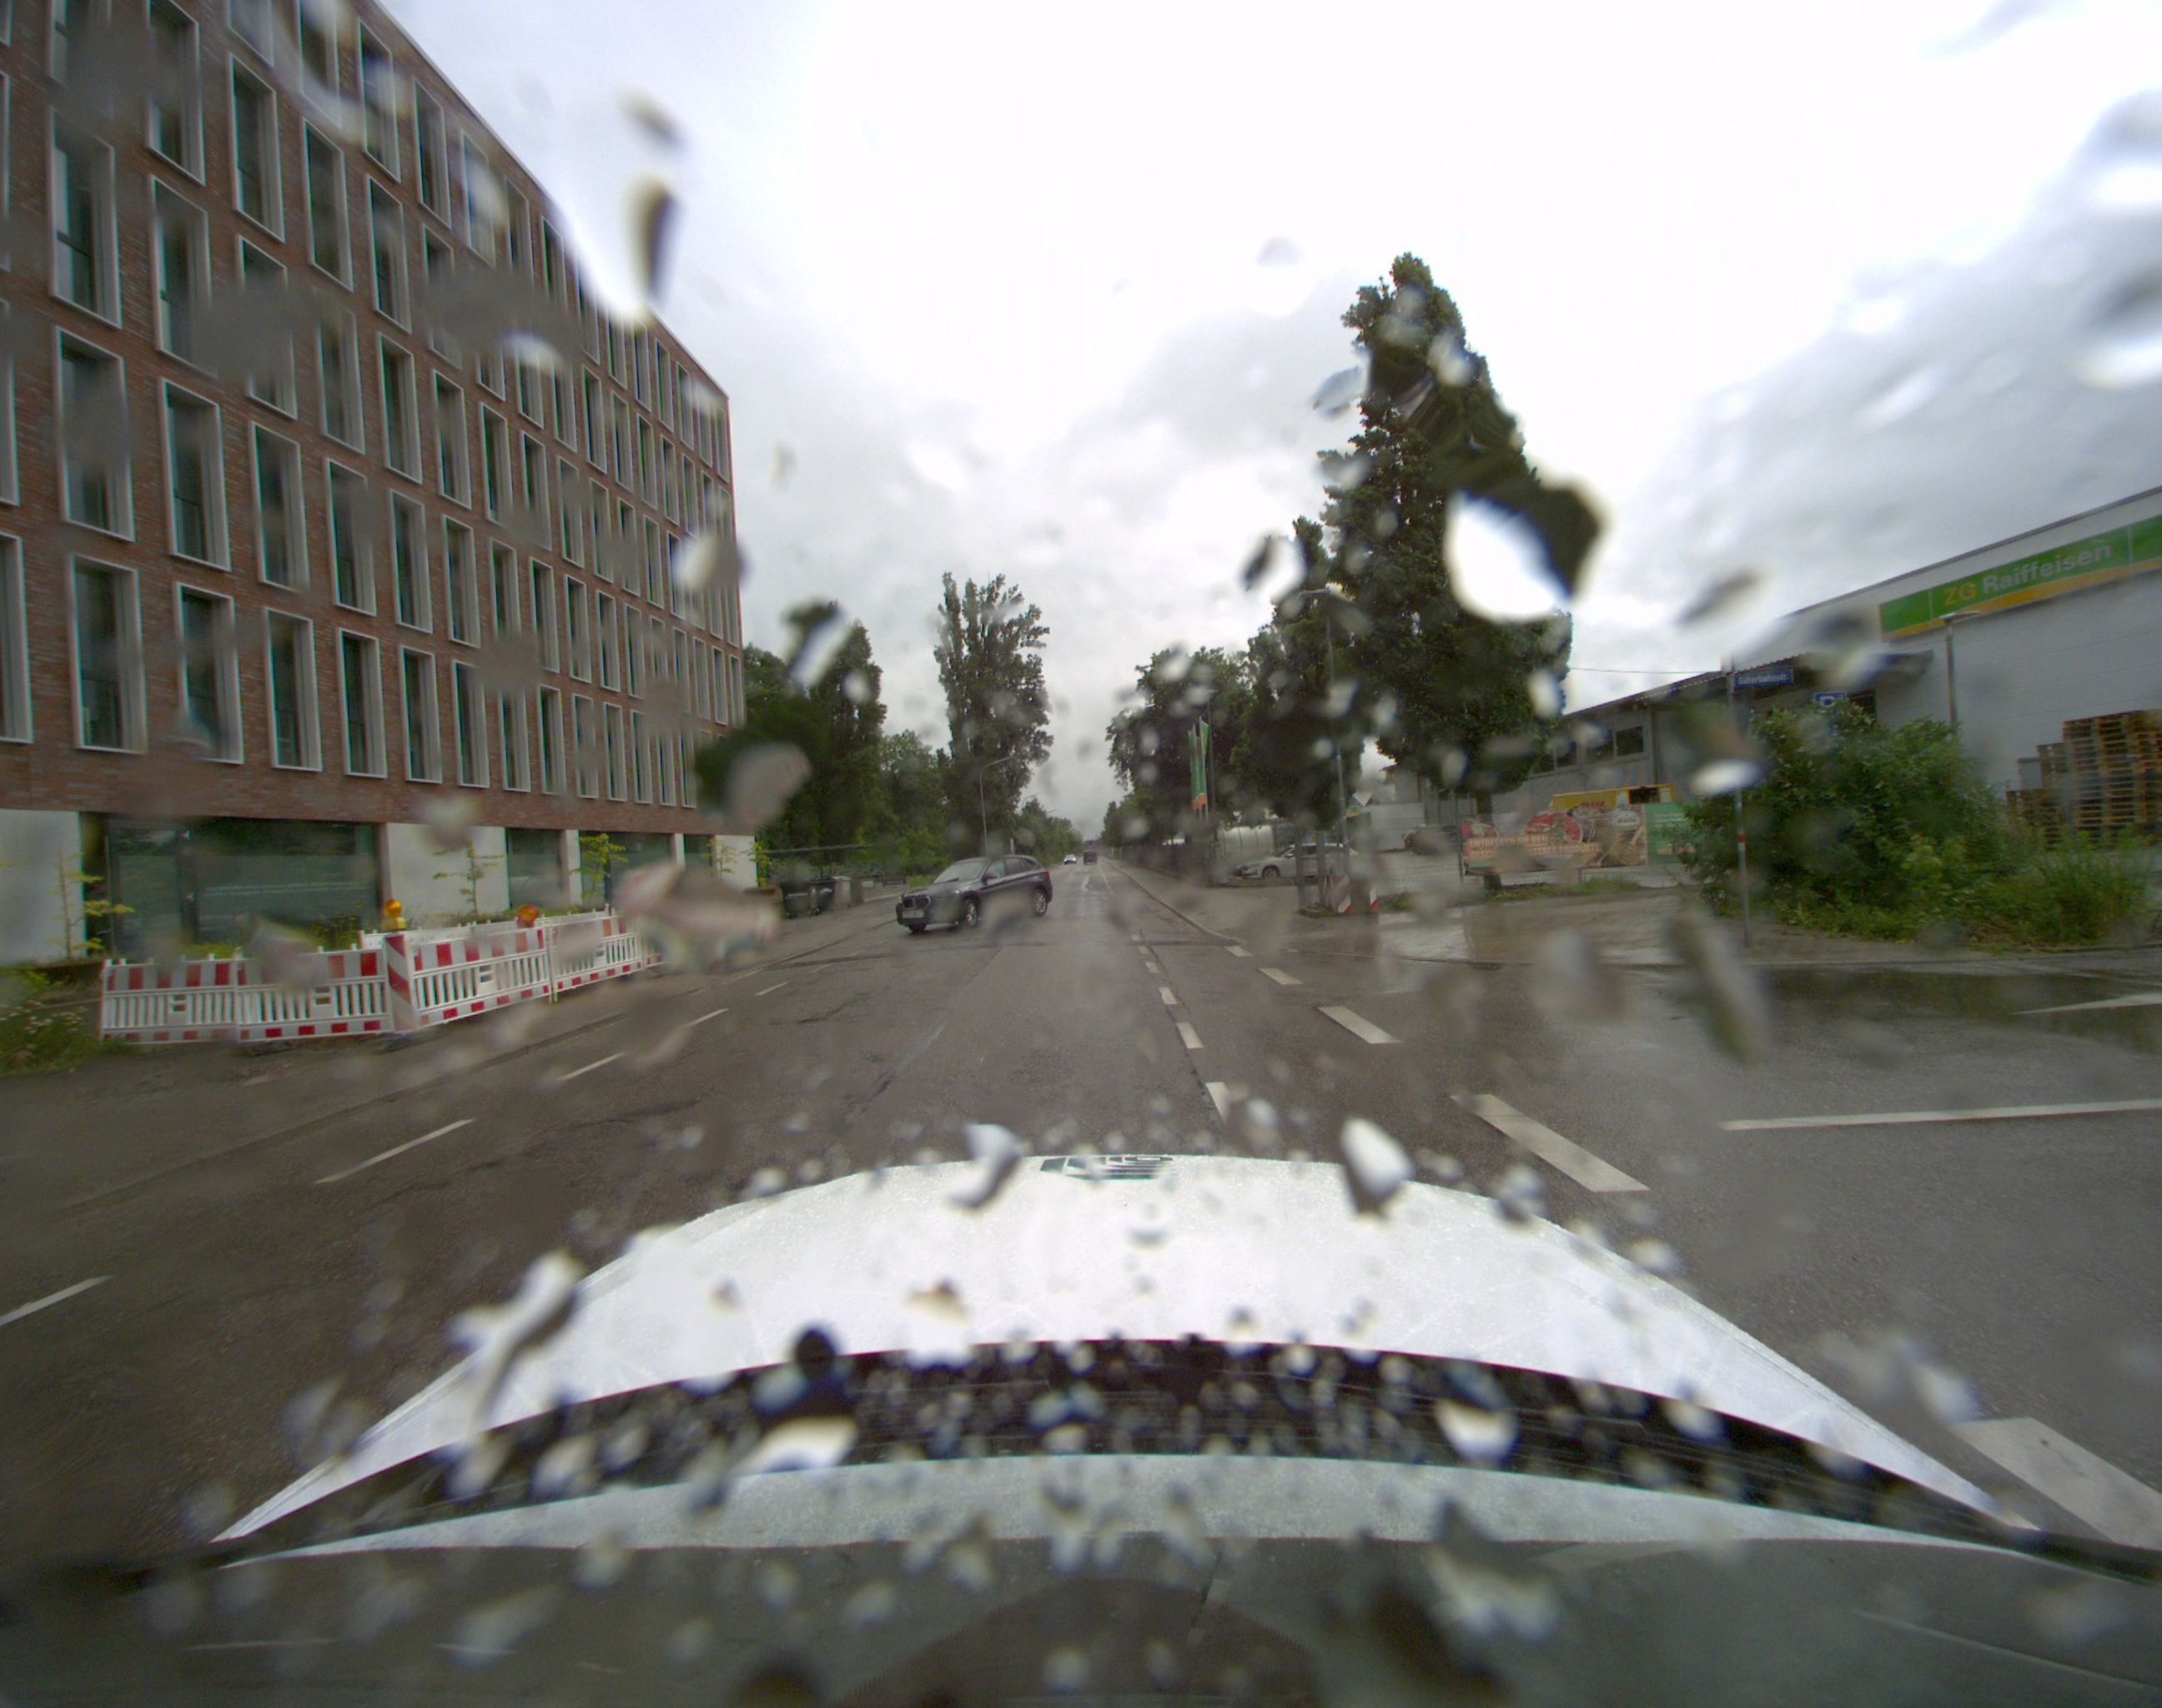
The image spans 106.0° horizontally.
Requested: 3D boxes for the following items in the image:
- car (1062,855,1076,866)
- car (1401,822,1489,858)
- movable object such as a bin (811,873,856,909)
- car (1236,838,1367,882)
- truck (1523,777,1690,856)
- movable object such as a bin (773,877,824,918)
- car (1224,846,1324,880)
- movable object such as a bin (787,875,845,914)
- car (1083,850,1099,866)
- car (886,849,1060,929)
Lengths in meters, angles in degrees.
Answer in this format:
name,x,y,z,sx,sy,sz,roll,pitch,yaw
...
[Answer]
name,x,y,z,sx,sy,sz,roll,pitch,yaw
car,-1.840,1.002,126.067,1.727,1.450,4.382,-6,0,2
car,21.987,-0.832,49.341,4.345,1.832,2.064,-4,0,2
movable object such as a bin,-9.969,1.474,32.858,1.292,1.332,1.358,-3,-1,-1
car,8.763,0.239,32.594,4.689,1.462,1.890,-3,0,-1
truck,21.074,-1.350,33.245,2.291,2.659,7.424,-5,-1,4
movable object such as a bin,-9.866,1.502,28.509,1.294,1.308,1.446,-3,-1,-5
car,8.300,0.374,35.269,3.926,1.256,1.618,-3,-1,-1
movable object such as a bin,-9.876,1.513,30.350,1.362,1.308,1.456,-4,-1,22
car,1.354,0.550,107.825,1.987,1.910,4.200,-4,-1,0
car,-2.491,0.780,19.705,1.742,1.568,4.177,-3,1,34
